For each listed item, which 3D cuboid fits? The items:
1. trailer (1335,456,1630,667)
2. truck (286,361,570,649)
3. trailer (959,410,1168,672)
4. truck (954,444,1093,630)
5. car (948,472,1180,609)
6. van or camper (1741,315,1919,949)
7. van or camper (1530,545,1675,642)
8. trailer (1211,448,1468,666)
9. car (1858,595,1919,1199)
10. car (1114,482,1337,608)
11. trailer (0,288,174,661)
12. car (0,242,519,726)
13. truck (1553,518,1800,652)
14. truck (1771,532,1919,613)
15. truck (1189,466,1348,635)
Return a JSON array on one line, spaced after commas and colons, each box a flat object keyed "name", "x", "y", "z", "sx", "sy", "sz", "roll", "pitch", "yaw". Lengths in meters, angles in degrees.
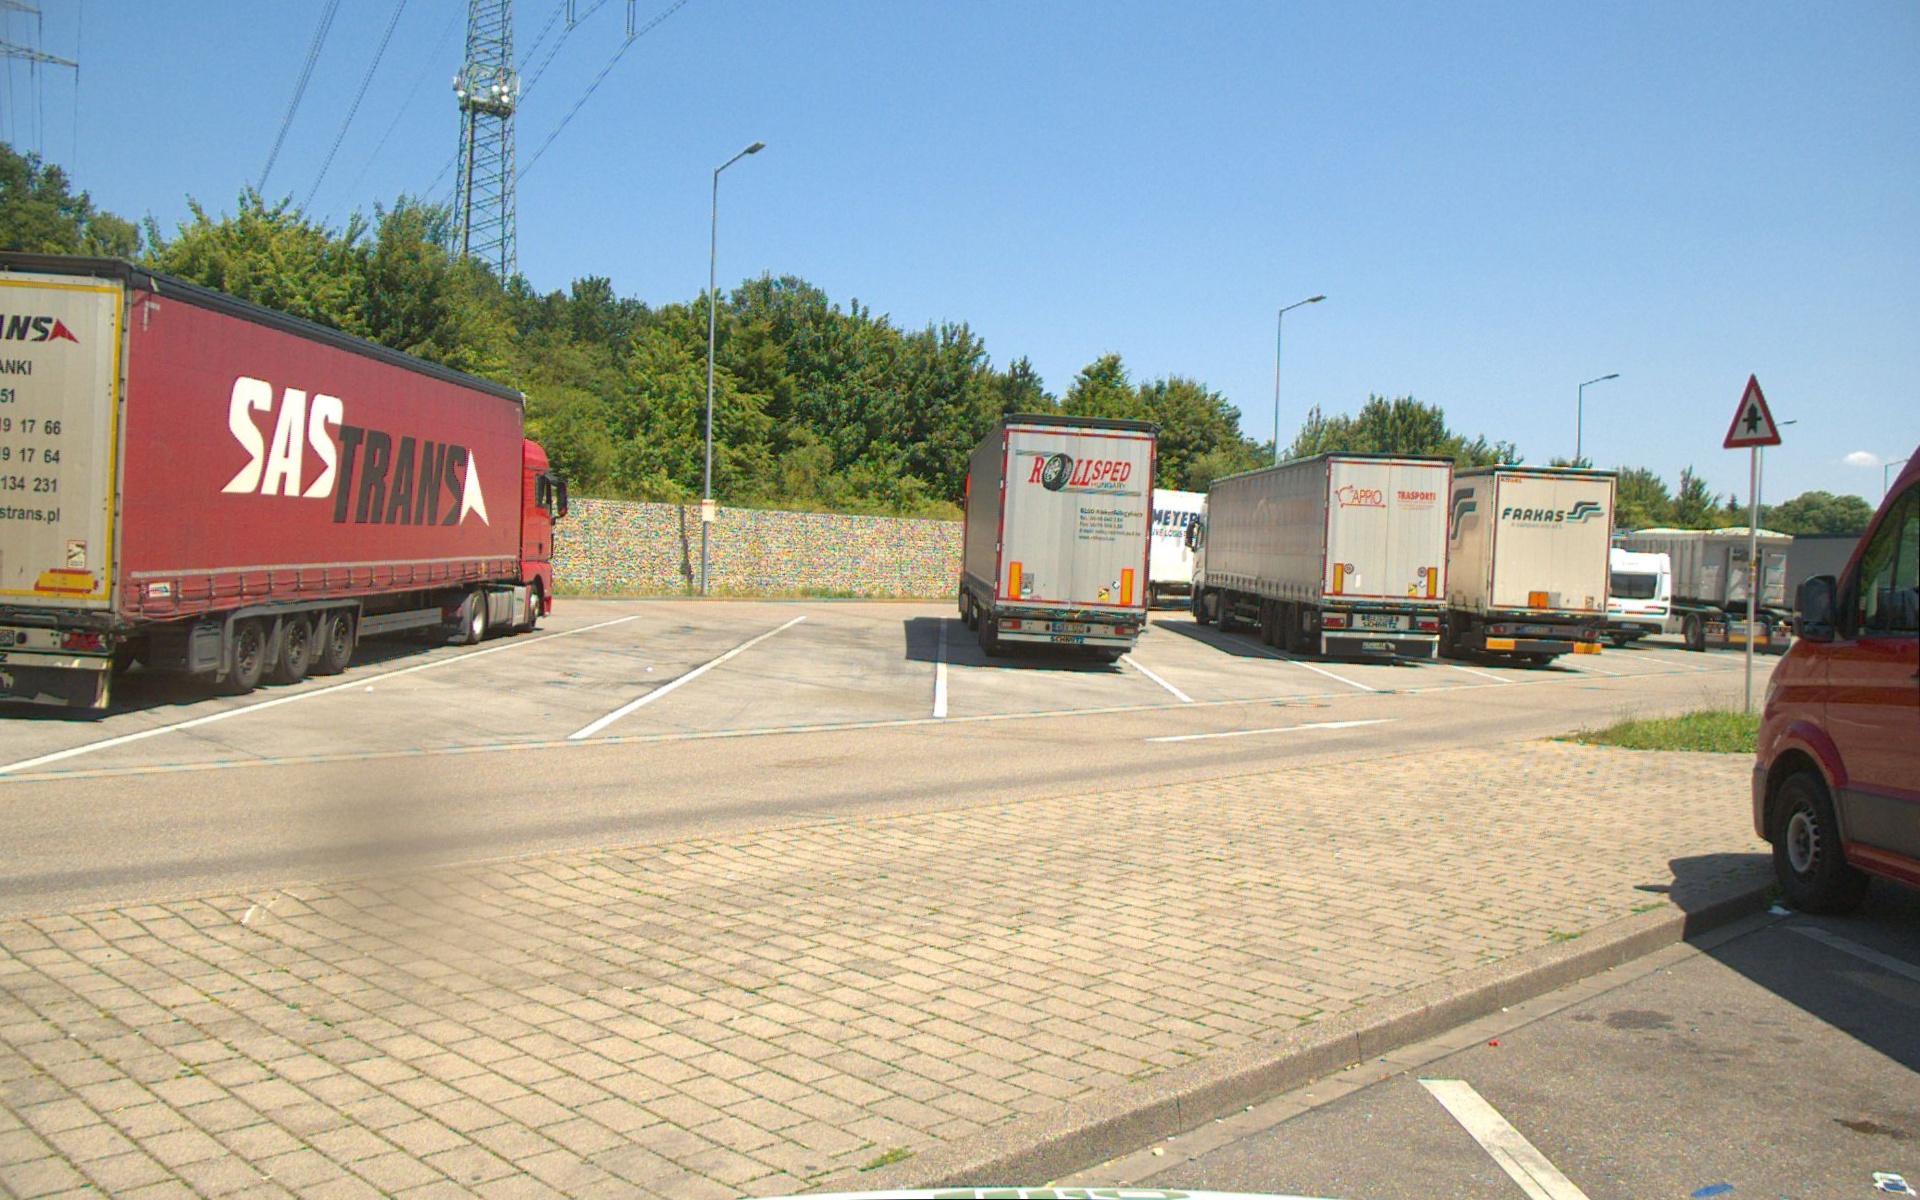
[{"name": "trailer", "x": 11.825, "y": -1.024, "z": 39.194, "sx": 2.808, "sy": 4.107, "sz": 12.438, "roll": 2, "pitch": 2, "yaw": -1}, {"name": "truck", "x": -8.696, "y": -1.525, "z": 27.852, "sx": 2.641, "sy": 4.184, "sz": 6.239, "roll": 2, "pitch": 2, "yaw": 0}, {"name": "trailer", "x": 1.656, "y": -1.237, "z": 33.643, "sx": 2.809, "sy": 4.107, "sz": 14.238, "roll": 2, "pitch": 2, "yaw": -2}, {"name": "truck", "x": 1.426, "y": -1.563, "z": 40.723, "sx": 2.809, "sy": 4.107, "sz": 7.026, "roll": 2, "pitch": 2, "yaw": -2}, {"name": "car", "x": 3.559, "y": -1.864, "z": 54.186, "sx": 2.644, "sy": 4.114, "sz": 8.410, "roll": 5, "pitch": 3, "yaw": 43}, {"name": "van or camper", "x": 4.989, "y": 0.171, "z": 5.532, "sx": 1.954, "sy": 2.700, "sz": 6.482, "roll": 1, "pitch": 1, "yaw": 3}, {"name": "van or camper", "x": 18.271, "y": -0.223, "z": 47.319, "sx": 2.061, "sy": 2.606, "sz": 5.372, "roll": 1, "pitch": 1, "yaw": 0}, {"name": "trailer", "x": 8.248, "y": -1.089, "z": 38.077, "sx": 2.808, "sy": 4.107, "sz": 12.438, "roll": 2, "pitch": 2, "yaw": -1}, {"name": "car", "x": 2.540, "y": 0.793, "z": 1.085, "sx": 1.584, "sy": 1.509, "sz": 3.762, "roll": 1, "pitch": 1, "yaw": -6}, {"name": "car", "x": 9.944, "y": -1.913, "z": 60.925, "sx": 2.644, "sy": 4.261, "sz": 10.146, "roll": 5, "pitch": 3, "yaw": 44}, {"name": "trailer", "x": -12.546, "y": -1.401, "z": 17.136, "sx": 2.756, "sy": 4.341, "sz": 12.940, "roll": 2, "pitch": 2, "yaw": -1}, {"name": "car", "x": -8.675, "y": -1.277, "z": 20.934, "sx": 2.641, "sy": 4.184, "sz": 12.935, "roll": 2, "pitch": 2, "yaw": 0}, {"name": "truck", "x": 21.751, "y": -0.650, "z": 51.215, "sx": 2.437, "sy": 3.630, "sz": 11.423, "roll": 2, "pitch": 2, "yaw": -1}, {"name": "truck", "x": 34.706, "y": -1.071, "z": 63.606, "sx": 2.082, "sy": 2.869, "sz": 9.777, "roll": 1, "pitch": 1, "yaw": -1}, {"name": "truck", "x": 8.169, "y": -1.383, "z": 44.708, "sx": 2.808, "sy": 4.107, "sz": 6.956, "roll": 2, "pitch": 2, "yaw": -1}]
